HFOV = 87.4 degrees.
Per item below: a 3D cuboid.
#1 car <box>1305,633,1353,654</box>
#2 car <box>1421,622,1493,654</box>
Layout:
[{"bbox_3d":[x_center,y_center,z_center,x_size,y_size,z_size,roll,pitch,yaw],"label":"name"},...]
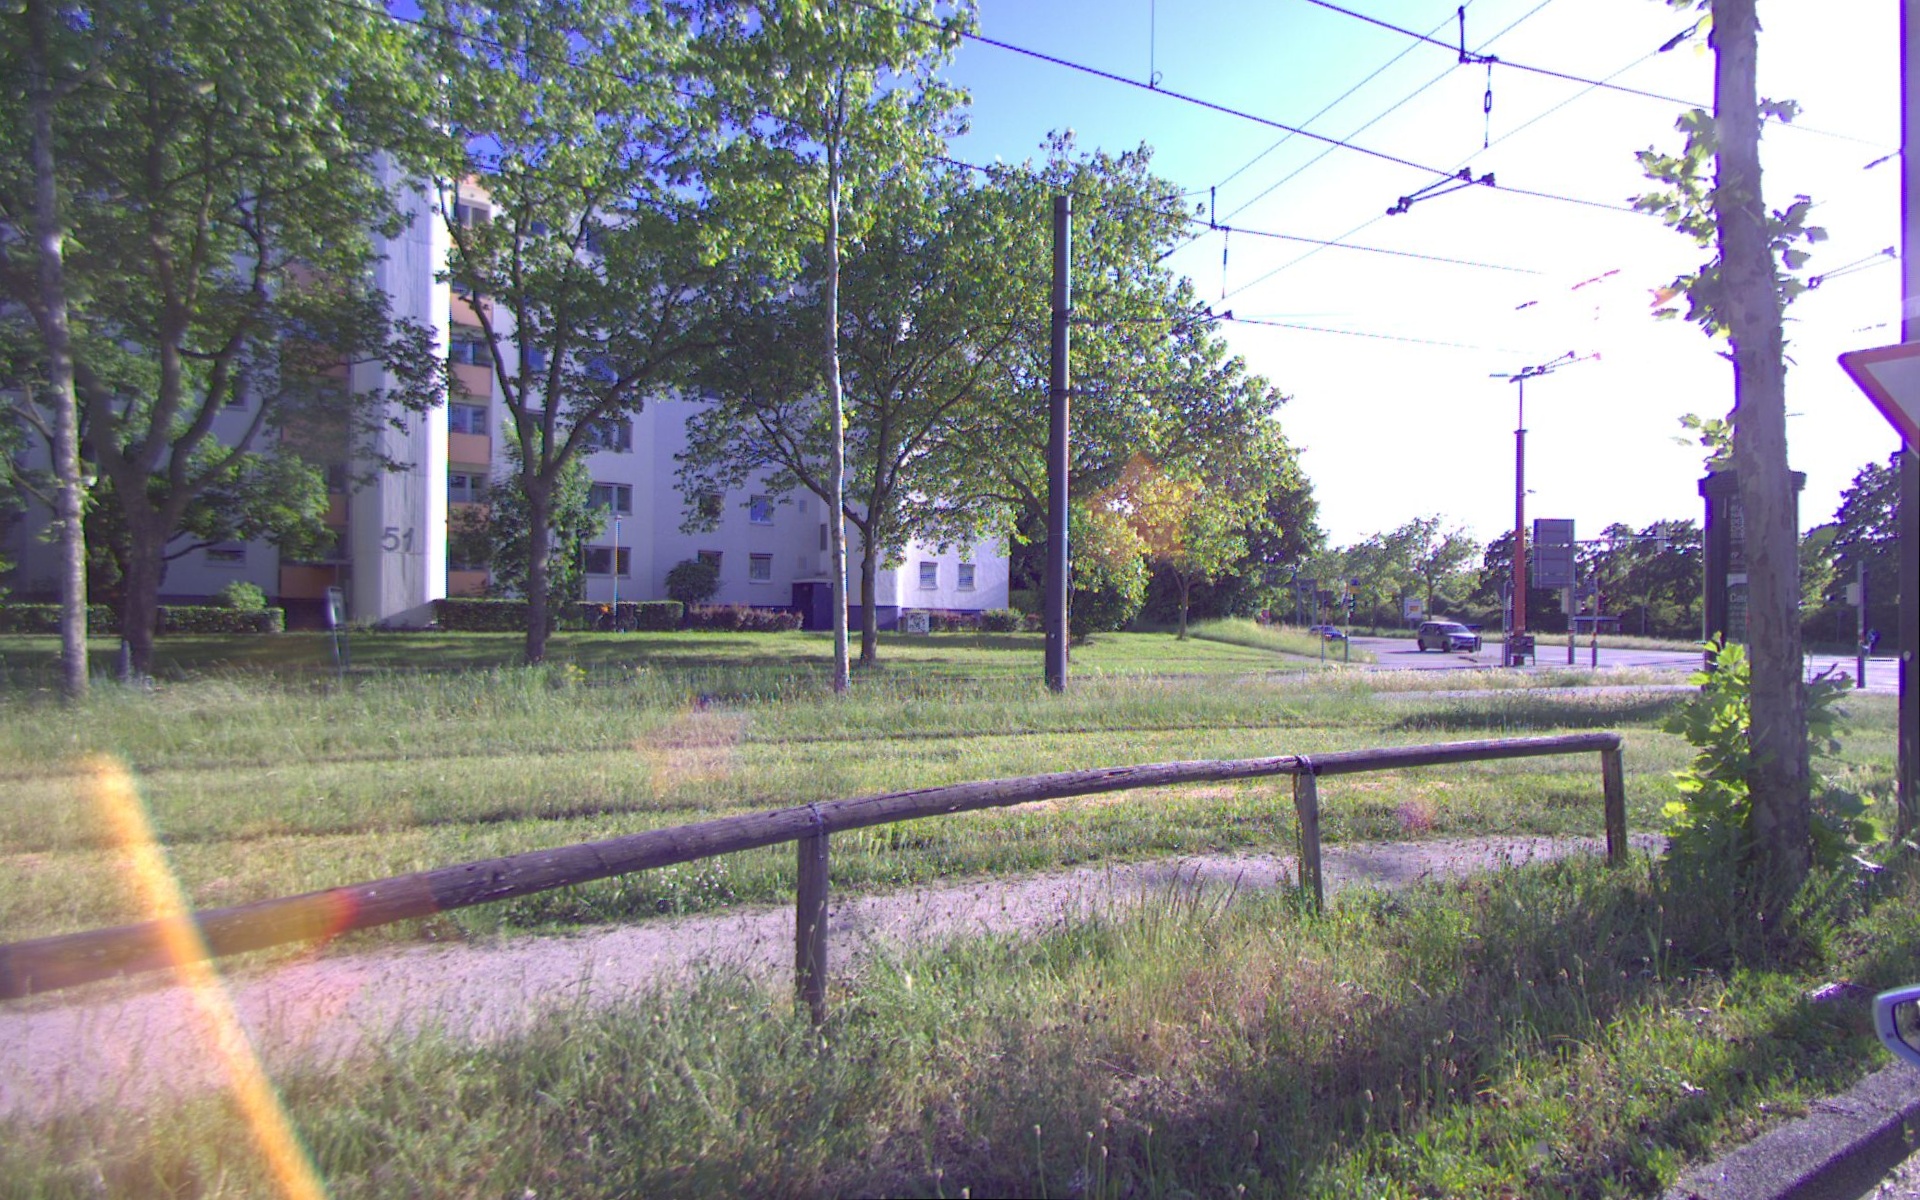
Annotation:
[{"bbox_3d":[29.289,3.448,79.917,1.868,1.494,4.563,-1,-1,-4],"label":"car"},{"bbox_3d":[29.794,2.222,60.352,1.868,1.798,4.445,-1,-1,-4],"label":"car"}]
